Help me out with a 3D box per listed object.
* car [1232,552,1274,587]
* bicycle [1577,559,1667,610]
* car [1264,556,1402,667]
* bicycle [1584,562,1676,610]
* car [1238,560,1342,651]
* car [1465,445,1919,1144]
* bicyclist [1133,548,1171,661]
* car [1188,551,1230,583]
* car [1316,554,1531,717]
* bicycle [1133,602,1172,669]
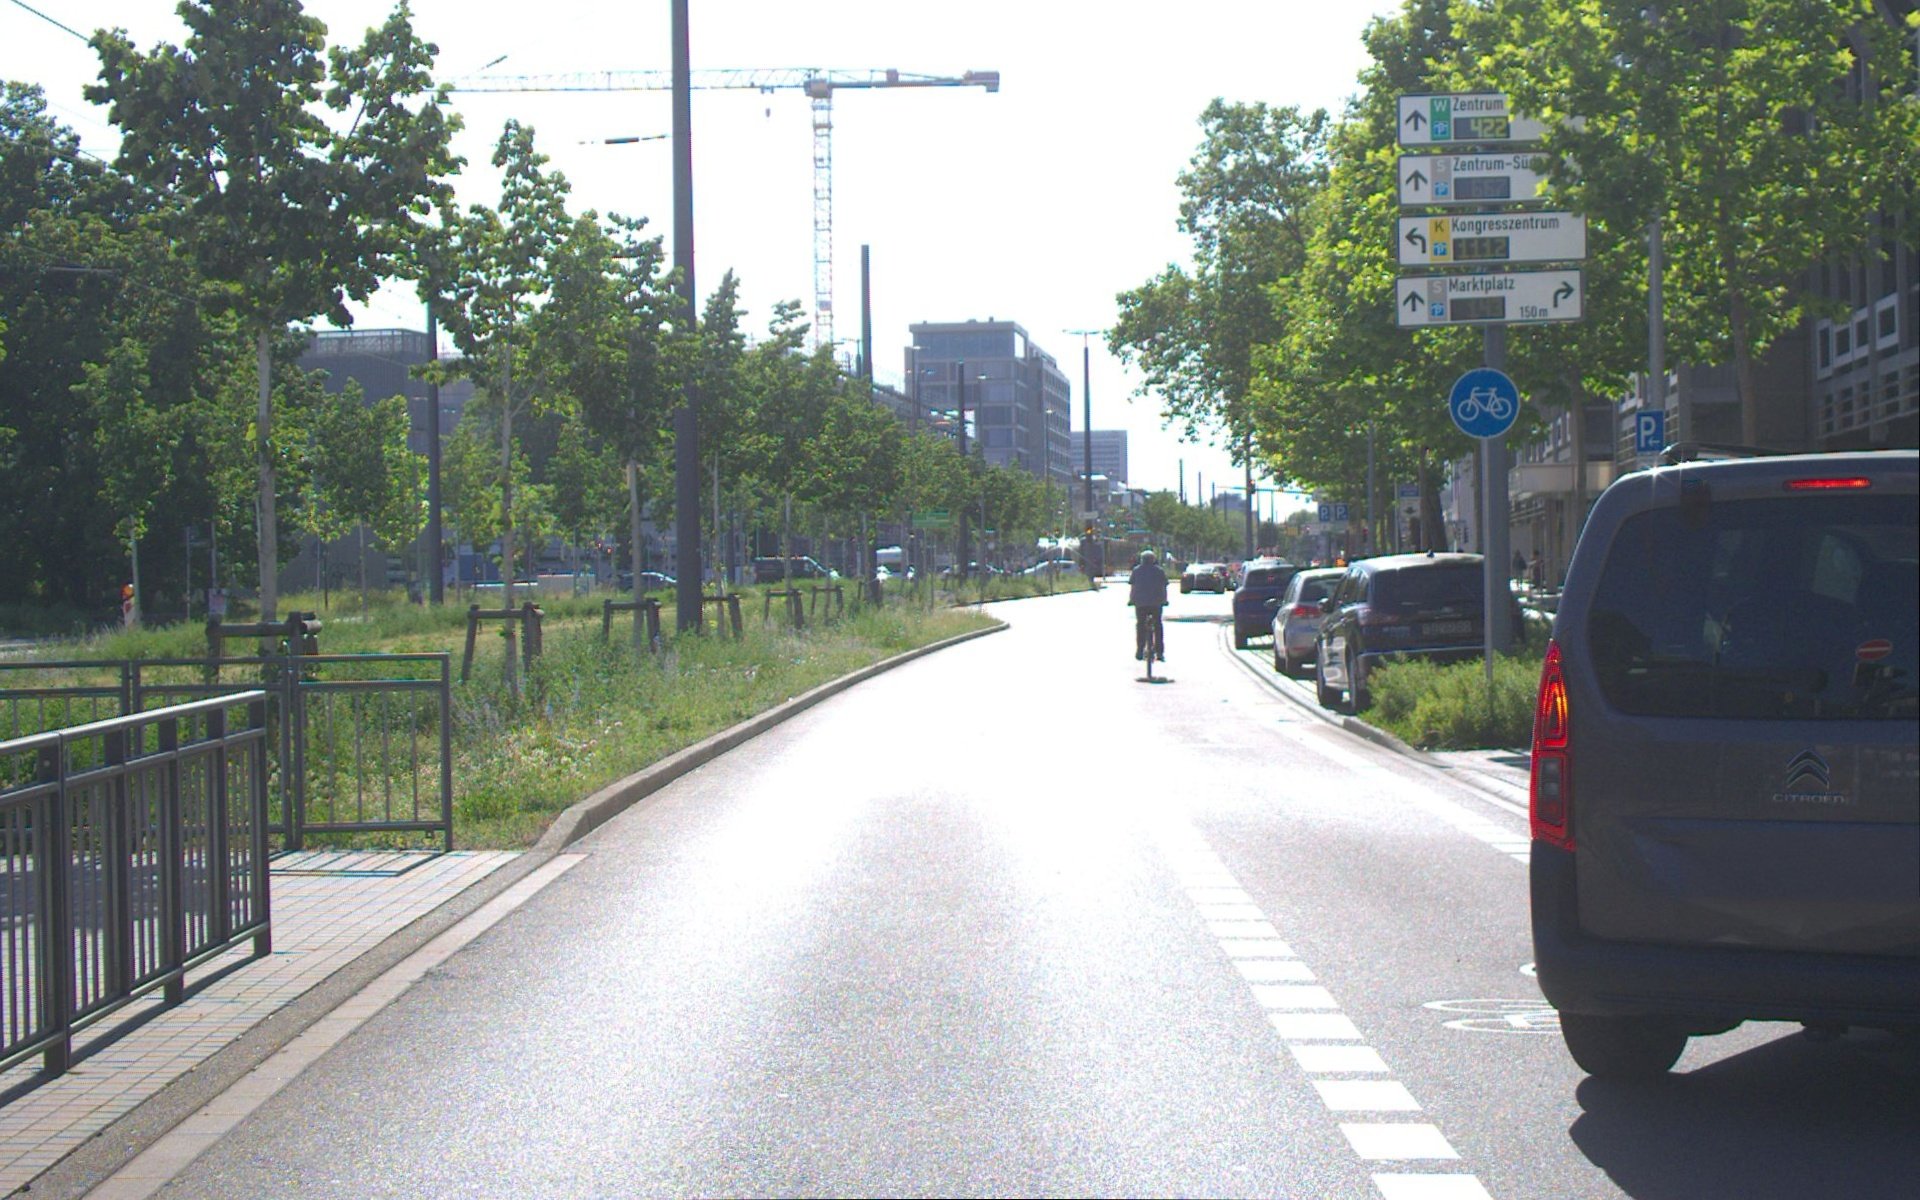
[{"bbox_3d":[14.000,-1.484,164.215,1.722,1.612,4.185,-1,1,8],"label":"car"},{"bbox_3d":[14.391,-0.327,74.752,1.858,1.007,0.426,-3,0,8],"label":"bicycle"},{"bbox_3d":[5.358,0.135,49.726,1.618,1.460,4.155,-2,1,2],"label":"car"},{"bbox_3d":[14.337,-0.296,73.584,1.858,0.935,0.426,-3,0,8],"label":"bicycle"},{"bbox_3d":[6.502,0.078,68.207,1.849,1.651,4.848,-2,1,4],"label":"car"},{"bbox_3d":[3.321,0.453,10.472,1.815,1.746,4.159,-1,1,35],"label":"car"},{"bbox_3d":[2.738,0.060,48.988,0.512,1.595,0.536,-1,0,2],"label":"bicyclist"},{"bbox_3d":[12.177,-1.620,168.205,1.912,1.481,4.009,-1,1,6],"label":"car"},{"bbox_3d":[5.006,0.343,37.651,1.747,1.653,4.470,-1,1,0],"label":"car"},{"bbox_3d":[2.735,0.492,48.967,0.497,0.903,2.196,1,1,2],"label":"bicycle"}]
